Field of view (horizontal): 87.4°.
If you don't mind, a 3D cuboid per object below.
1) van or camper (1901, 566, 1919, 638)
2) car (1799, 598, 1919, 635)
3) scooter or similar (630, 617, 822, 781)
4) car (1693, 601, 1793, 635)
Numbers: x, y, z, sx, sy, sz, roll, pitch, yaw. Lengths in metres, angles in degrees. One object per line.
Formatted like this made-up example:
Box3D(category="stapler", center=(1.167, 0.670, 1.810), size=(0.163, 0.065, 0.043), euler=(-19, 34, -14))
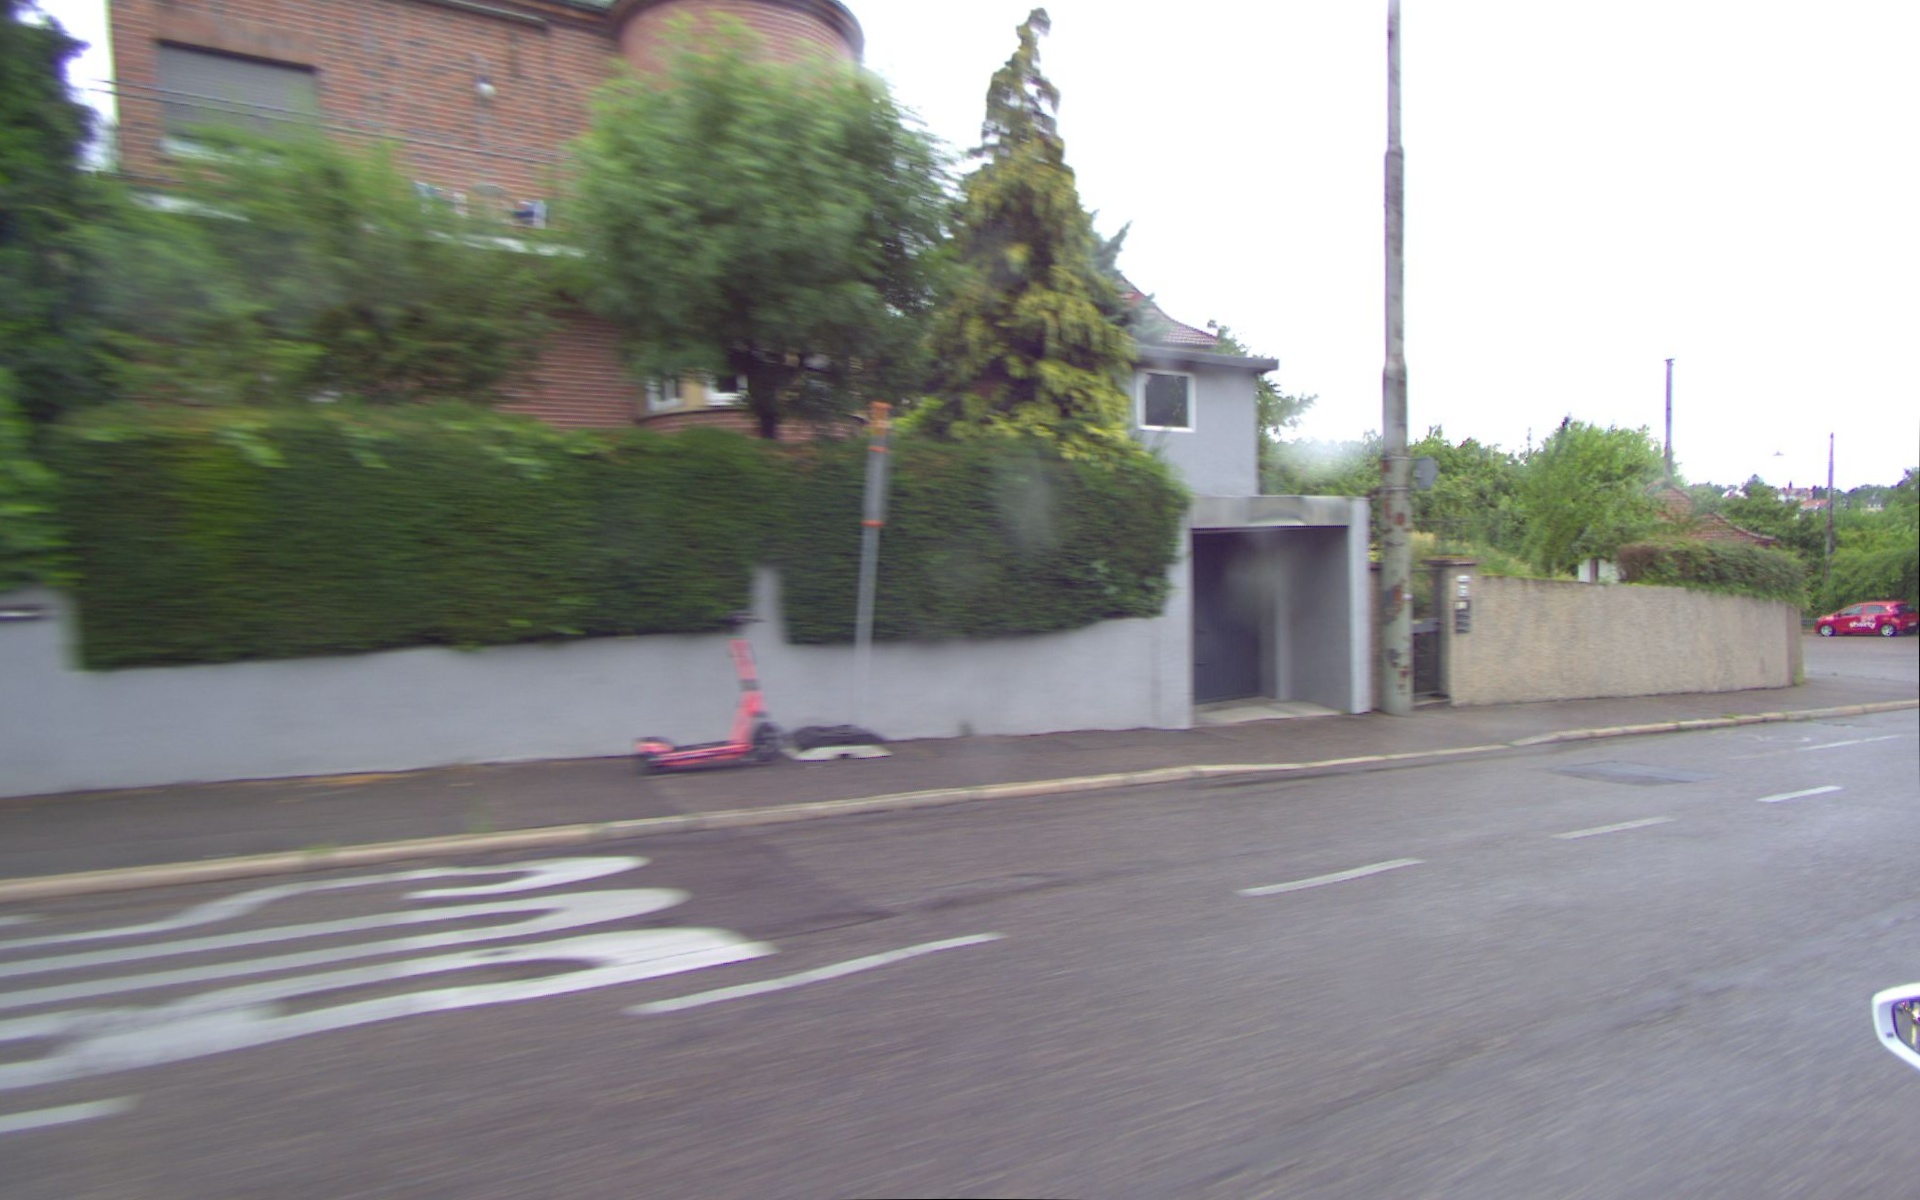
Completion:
Box3D(category="van or camper", center=(41.308, -0.021, 39.630), size=(2.350, 2.983, 6.282), euler=(-4, 0, 1))
Box3D(category="car", center=(40.723, 0.783, 45.538), size=(1.620, 1.480, 3.792), euler=(-5, 0, -18))
Box3D(category="scooter or similar", center=(-1.866, 0.748, 8.065), size=(1.418, 1.219, 0.520), euler=(1, -1, -30))
Box3D(category="car", center=(39.230, 0.886, 50.422), size=(1.541, 1.533, 3.655), euler=(-4, 1, -23))
